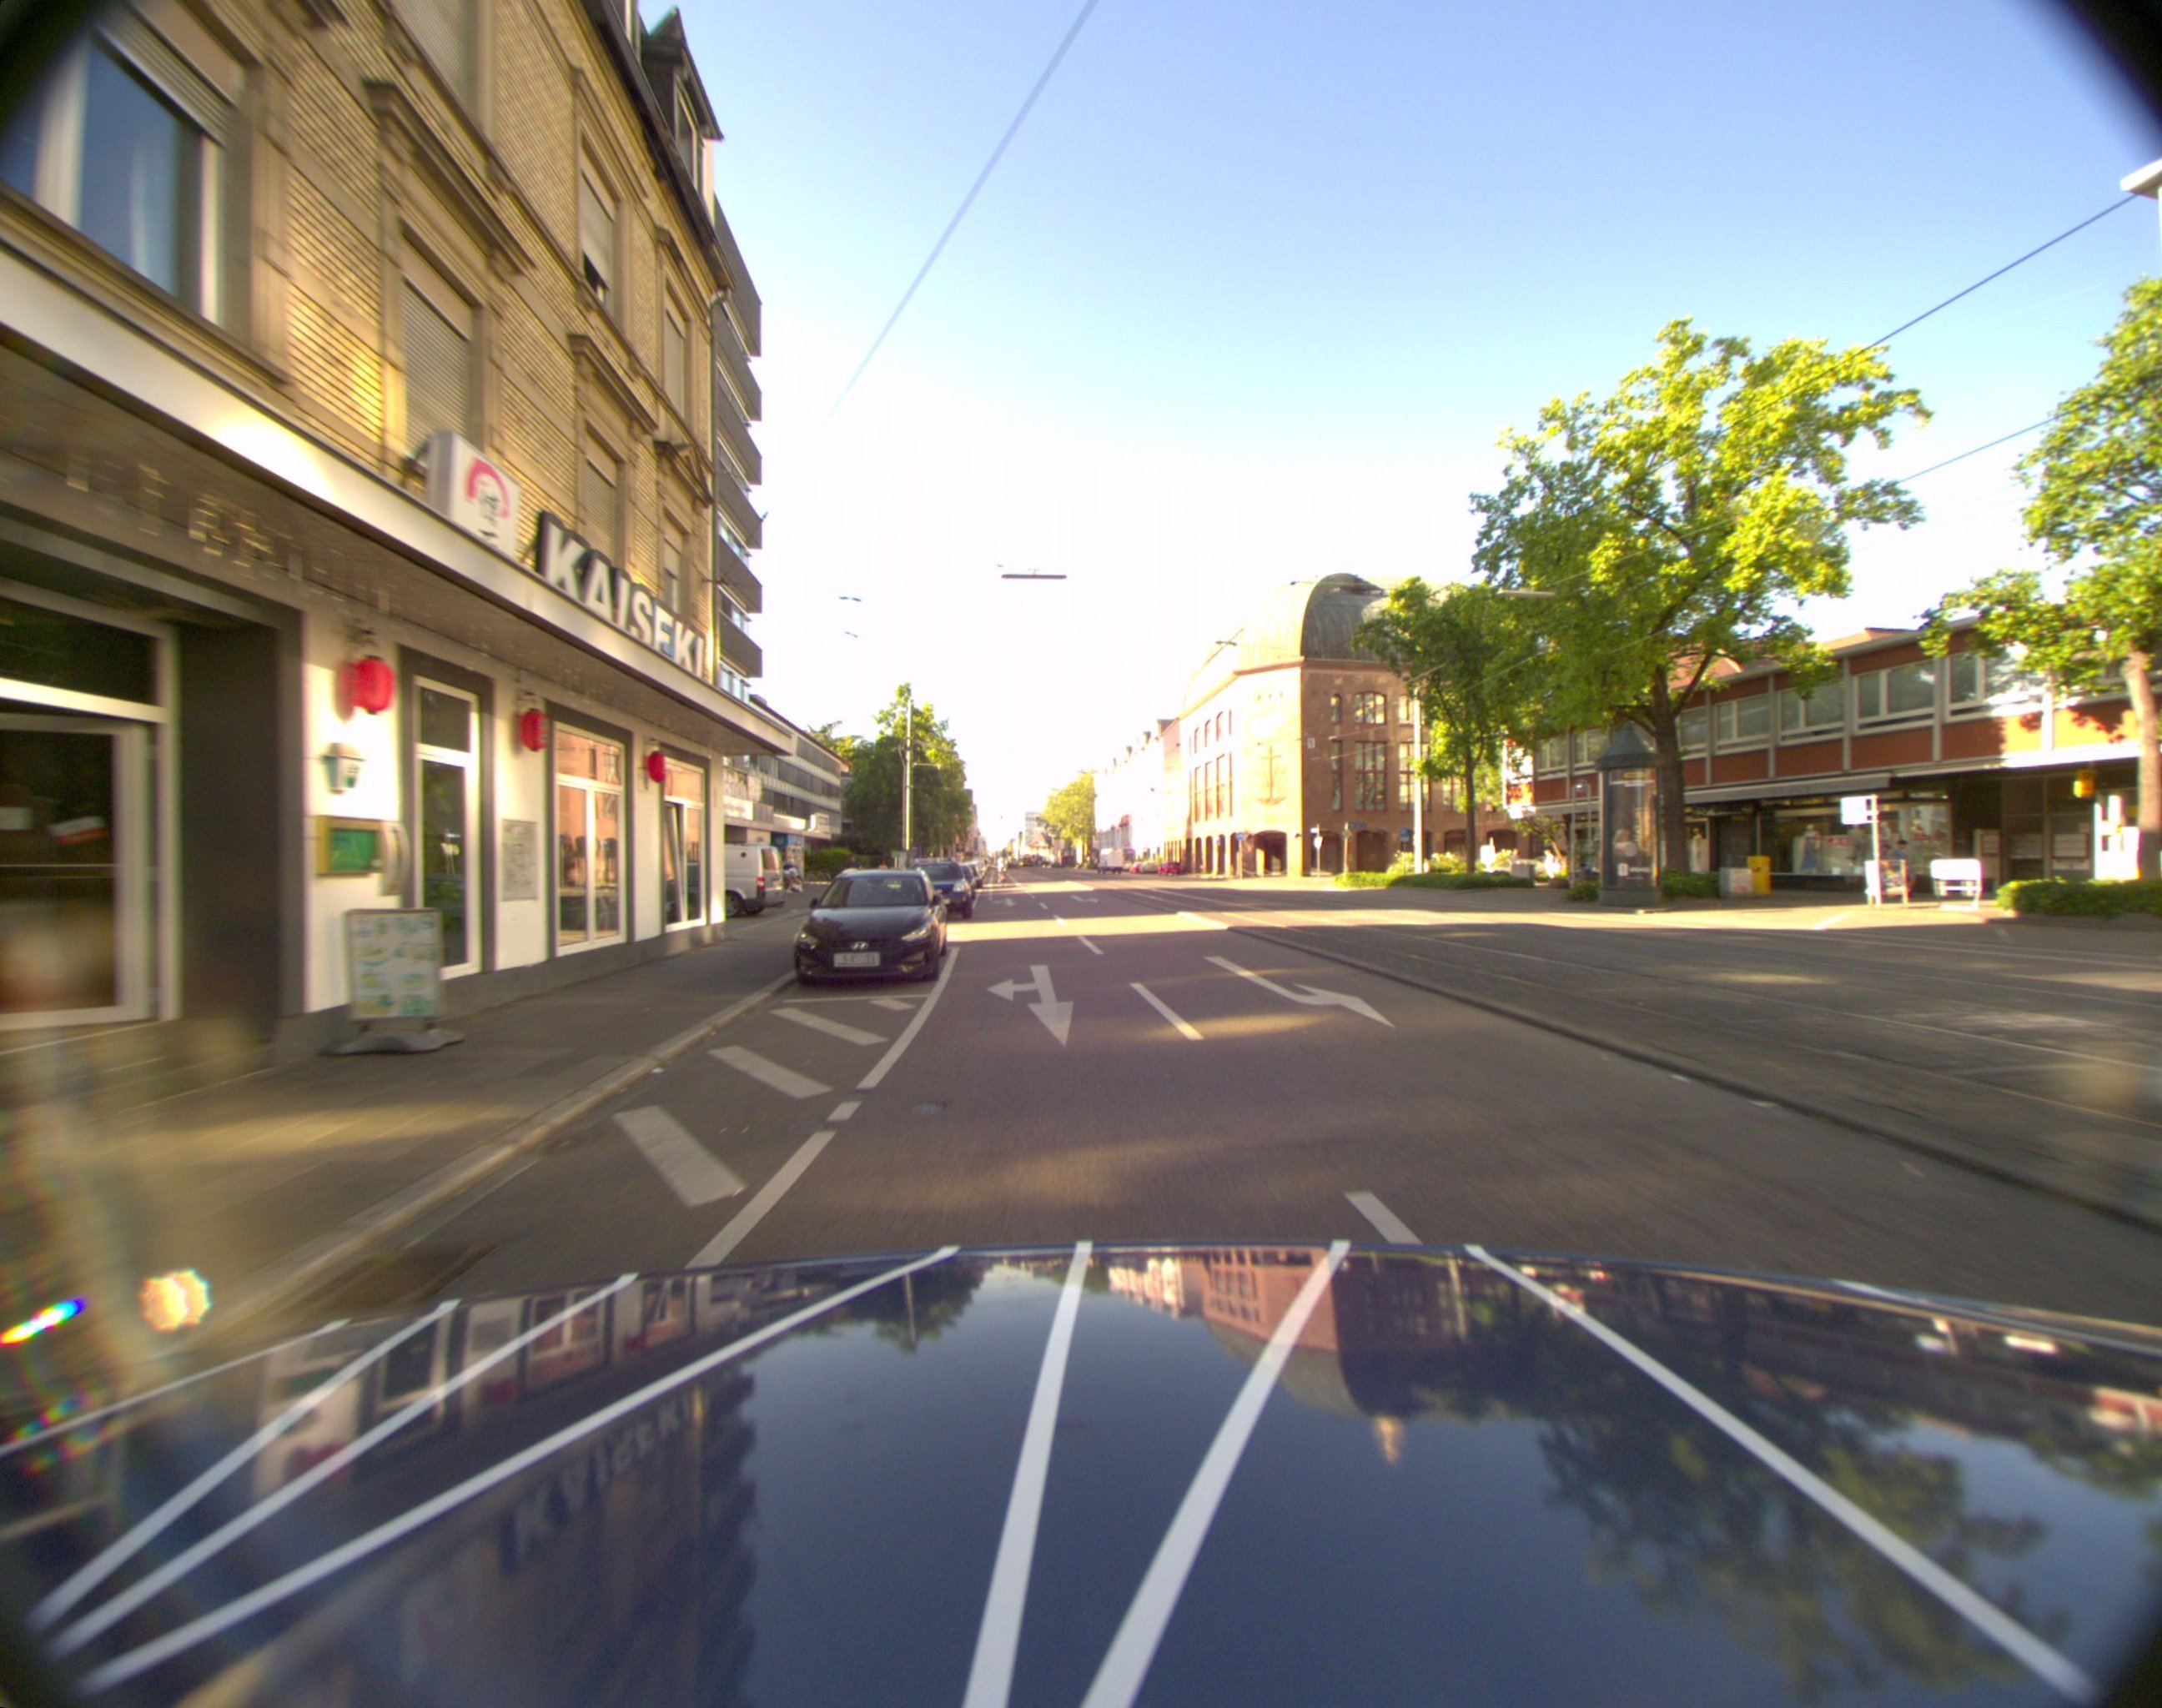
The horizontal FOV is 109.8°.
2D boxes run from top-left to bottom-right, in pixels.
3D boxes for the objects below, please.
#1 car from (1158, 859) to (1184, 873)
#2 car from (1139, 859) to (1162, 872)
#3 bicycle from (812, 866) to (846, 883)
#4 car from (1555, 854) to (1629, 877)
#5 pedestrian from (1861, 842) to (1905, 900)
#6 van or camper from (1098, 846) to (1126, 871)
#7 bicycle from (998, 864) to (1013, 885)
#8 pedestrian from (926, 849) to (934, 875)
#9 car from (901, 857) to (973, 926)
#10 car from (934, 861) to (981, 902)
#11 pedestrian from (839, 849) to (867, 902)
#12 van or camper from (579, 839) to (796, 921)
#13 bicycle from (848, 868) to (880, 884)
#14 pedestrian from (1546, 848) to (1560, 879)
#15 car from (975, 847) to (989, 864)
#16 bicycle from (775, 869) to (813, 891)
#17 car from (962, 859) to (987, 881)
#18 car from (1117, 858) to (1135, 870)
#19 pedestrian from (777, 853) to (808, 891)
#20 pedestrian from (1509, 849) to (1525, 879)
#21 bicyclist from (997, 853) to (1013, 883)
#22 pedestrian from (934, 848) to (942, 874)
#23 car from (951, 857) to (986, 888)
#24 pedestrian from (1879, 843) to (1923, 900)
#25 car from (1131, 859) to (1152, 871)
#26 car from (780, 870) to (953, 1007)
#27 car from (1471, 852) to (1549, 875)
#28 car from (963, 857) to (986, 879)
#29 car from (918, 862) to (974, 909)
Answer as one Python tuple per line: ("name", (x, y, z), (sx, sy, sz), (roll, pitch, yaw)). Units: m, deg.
("car", (9.183, 1.211, 77.862), (1.754, 1.445, 3.469), (-1, 0, -8))
("car", (7.970, 1.288, 87.605), (1.857, 1.445, 3.851), (-1, 0, -6))
("bicycle", (-15.010, 1.224, 45.222), (1.808, 0.960, 0.572), (2, 1, -6))
("car", (36.087, 0.793, 53.708), (4.277, 1.521, 1.997), (0, 0, -15))
("pedestrian", (24.637, 0.508, 23.350), (0.574, 1.761, 0.706), (0, 1, -5))
("van or camper", (3.435, 0.503, 85.329), (2.043, 2.723, 7.016), (0, 0, -6))
("bicycle", (-4.664, 1.256, 46.762), (0.890, 1.155, 2.077), (-2, 1, -6))
("pedestrian", (-11.782, 0.606, 59.245), (0.508, 2.002, 0.574), (-2, 2, -6))
("car", (-4.102, 0.986, 22.245), (1.695, 1.703, 4.612), (-2, 1, -7))
("car", (-5.232, 1.126, 32.605), (1.703, 1.474, 4.223), (-2, 1, -7))
("pedestrian", (-8.484, 0.773, 28.271), (0.686, 1.901, 1.062), (-2, 2, -3))
("van or camper", (-10.417, 0.671, 20.396), (4.705, 1.922, 1.999), (2, 0, -3))
("bicycle", (-13.176, 1.323, 46.088), (1.815, 0.916, 0.406), (1, 1, -9))
("pedestrian", (25.011, 0.498, 40.253), (0.446, 1.583, 0.723), (0, 0, 19))
("car", (-12.822, 0.144, 98.465), (1.734, 2.038, 4.112), (-2, 2, -7))
("bicycle", (-13.325, 1.202, 35.297), (1.576, 0.916, 0.339), (3, 1, -7))
("car", (-8.042, 1.177, 57.399), (1.734, 1.474, 3.861), (-2, 0, -8))
("car", (6.100, 1.338, 103.792), (1.857, 1.445, 3.851), (-1, 0, -6))
("pedestrian", (-13.270, 0.816, 34.961), (1.013, 1.639, 0.916), (3, 1, -6))
("pedestrian", (23.290, 0.511, 40.580), (0.447, 1.583, 0.722), (0, 0, 3))
("bicyclist", (-4.679, 0.840, 46.746), (0.896, 1.755, 1.029), (-2, 2, -6))
("pedestrian", (-11.171, 0.507, 59.307), (0.508, 2.002, 0.574), (-2, 2, -6))
("car", (-6.445, 1.032, 43.927), (1.734, 1.475, 4.924), (-2, 2, -7))
("pedestrian", (25.232, 0.535, 23.395), (0.574, 1.740, 0.706), (0, 1, -5))
("car", (7.351, 1.357, 92.495), (1.857, 1.346, 3.851), (-1, 0, -6))
("car", (-2.878, 1.033, 11.110), (1.695, 1.442, 4.357), (-2, 0, -7))
("car", (29.262, 0.629, 51.870), (4.274, 1.521, 1.999), (0, 0, -7))
("car", (-8.731, 1.124, 62.404), (1.734, 1.568, 4.112), (-2, 1, -7))
("car", (-4.836, 1.090, 27.654), (1.719, 1.446, 3.775), (-2, 1, -7))
